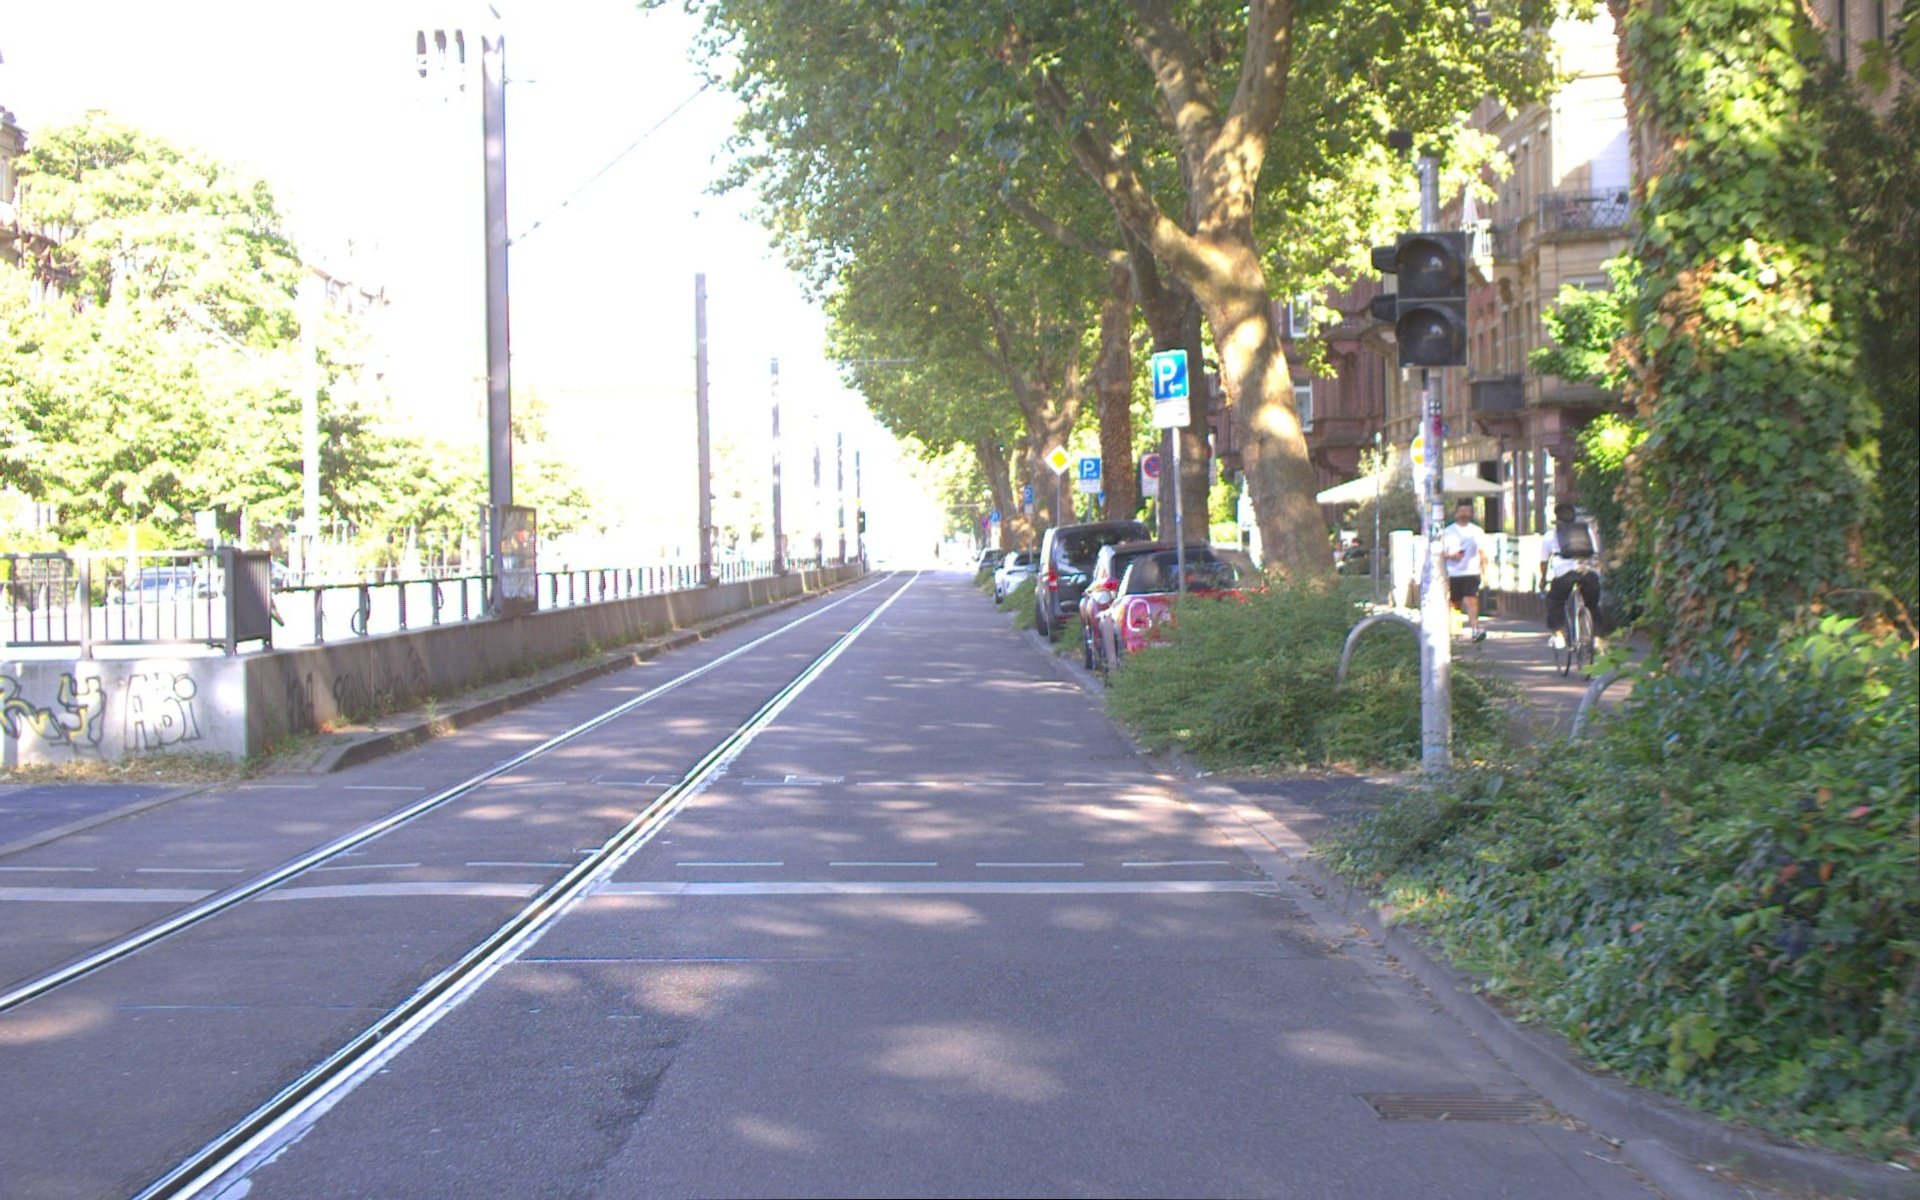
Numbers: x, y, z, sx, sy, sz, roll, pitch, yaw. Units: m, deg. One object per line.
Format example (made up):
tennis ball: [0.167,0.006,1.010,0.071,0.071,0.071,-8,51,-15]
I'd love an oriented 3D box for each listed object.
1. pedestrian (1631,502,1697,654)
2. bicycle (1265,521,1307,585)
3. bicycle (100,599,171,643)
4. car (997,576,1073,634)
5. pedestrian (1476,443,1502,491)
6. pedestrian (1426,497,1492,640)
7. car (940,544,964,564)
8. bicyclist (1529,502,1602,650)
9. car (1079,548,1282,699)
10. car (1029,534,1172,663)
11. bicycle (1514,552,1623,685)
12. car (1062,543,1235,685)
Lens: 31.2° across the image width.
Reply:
pedestrian: [7.629,-0.244,37.270,0.530,1.622,0.618,-2,1,0]
bicycle: [6.176,-0.880,65.159,0.560,1.174,2.022,0,0,-1]
bicycle: [-22.988,0.581,95.846,1.808,1.174,0.562,2,0,2]
car: [1.933,0.121,89.800,1.802,1.472,4.647,0,0,-1]
pedestrian: [12.990,-3.262,84.402,0.556,1.134,0.526,-1,0,-1]
pedestrian: [6.310,-0.401,43.466,0.688,1.779,0.644,-1,1,-2]
car: [-0.611,-3.427,257.378,1.745,1.457,3.644,2,1,-1]
bicyclist: [5.750,-0.234,32.651,0.543,1.376,0.644,-1,1,-2]
car: [2.213,0.249,35.391,1.714,1.457,4.000,0,-1,-2]
car: [2.299,-0.057,57.473,1.993,2.007,5.202,-1,1,-2]
bicycle: [5.758,0.151,32.624,0.560,1.174,2.226,-1,2,-2]
car: [2.205,0.174,41.234,1.714,1.543,4.501,-2,0,-1]
